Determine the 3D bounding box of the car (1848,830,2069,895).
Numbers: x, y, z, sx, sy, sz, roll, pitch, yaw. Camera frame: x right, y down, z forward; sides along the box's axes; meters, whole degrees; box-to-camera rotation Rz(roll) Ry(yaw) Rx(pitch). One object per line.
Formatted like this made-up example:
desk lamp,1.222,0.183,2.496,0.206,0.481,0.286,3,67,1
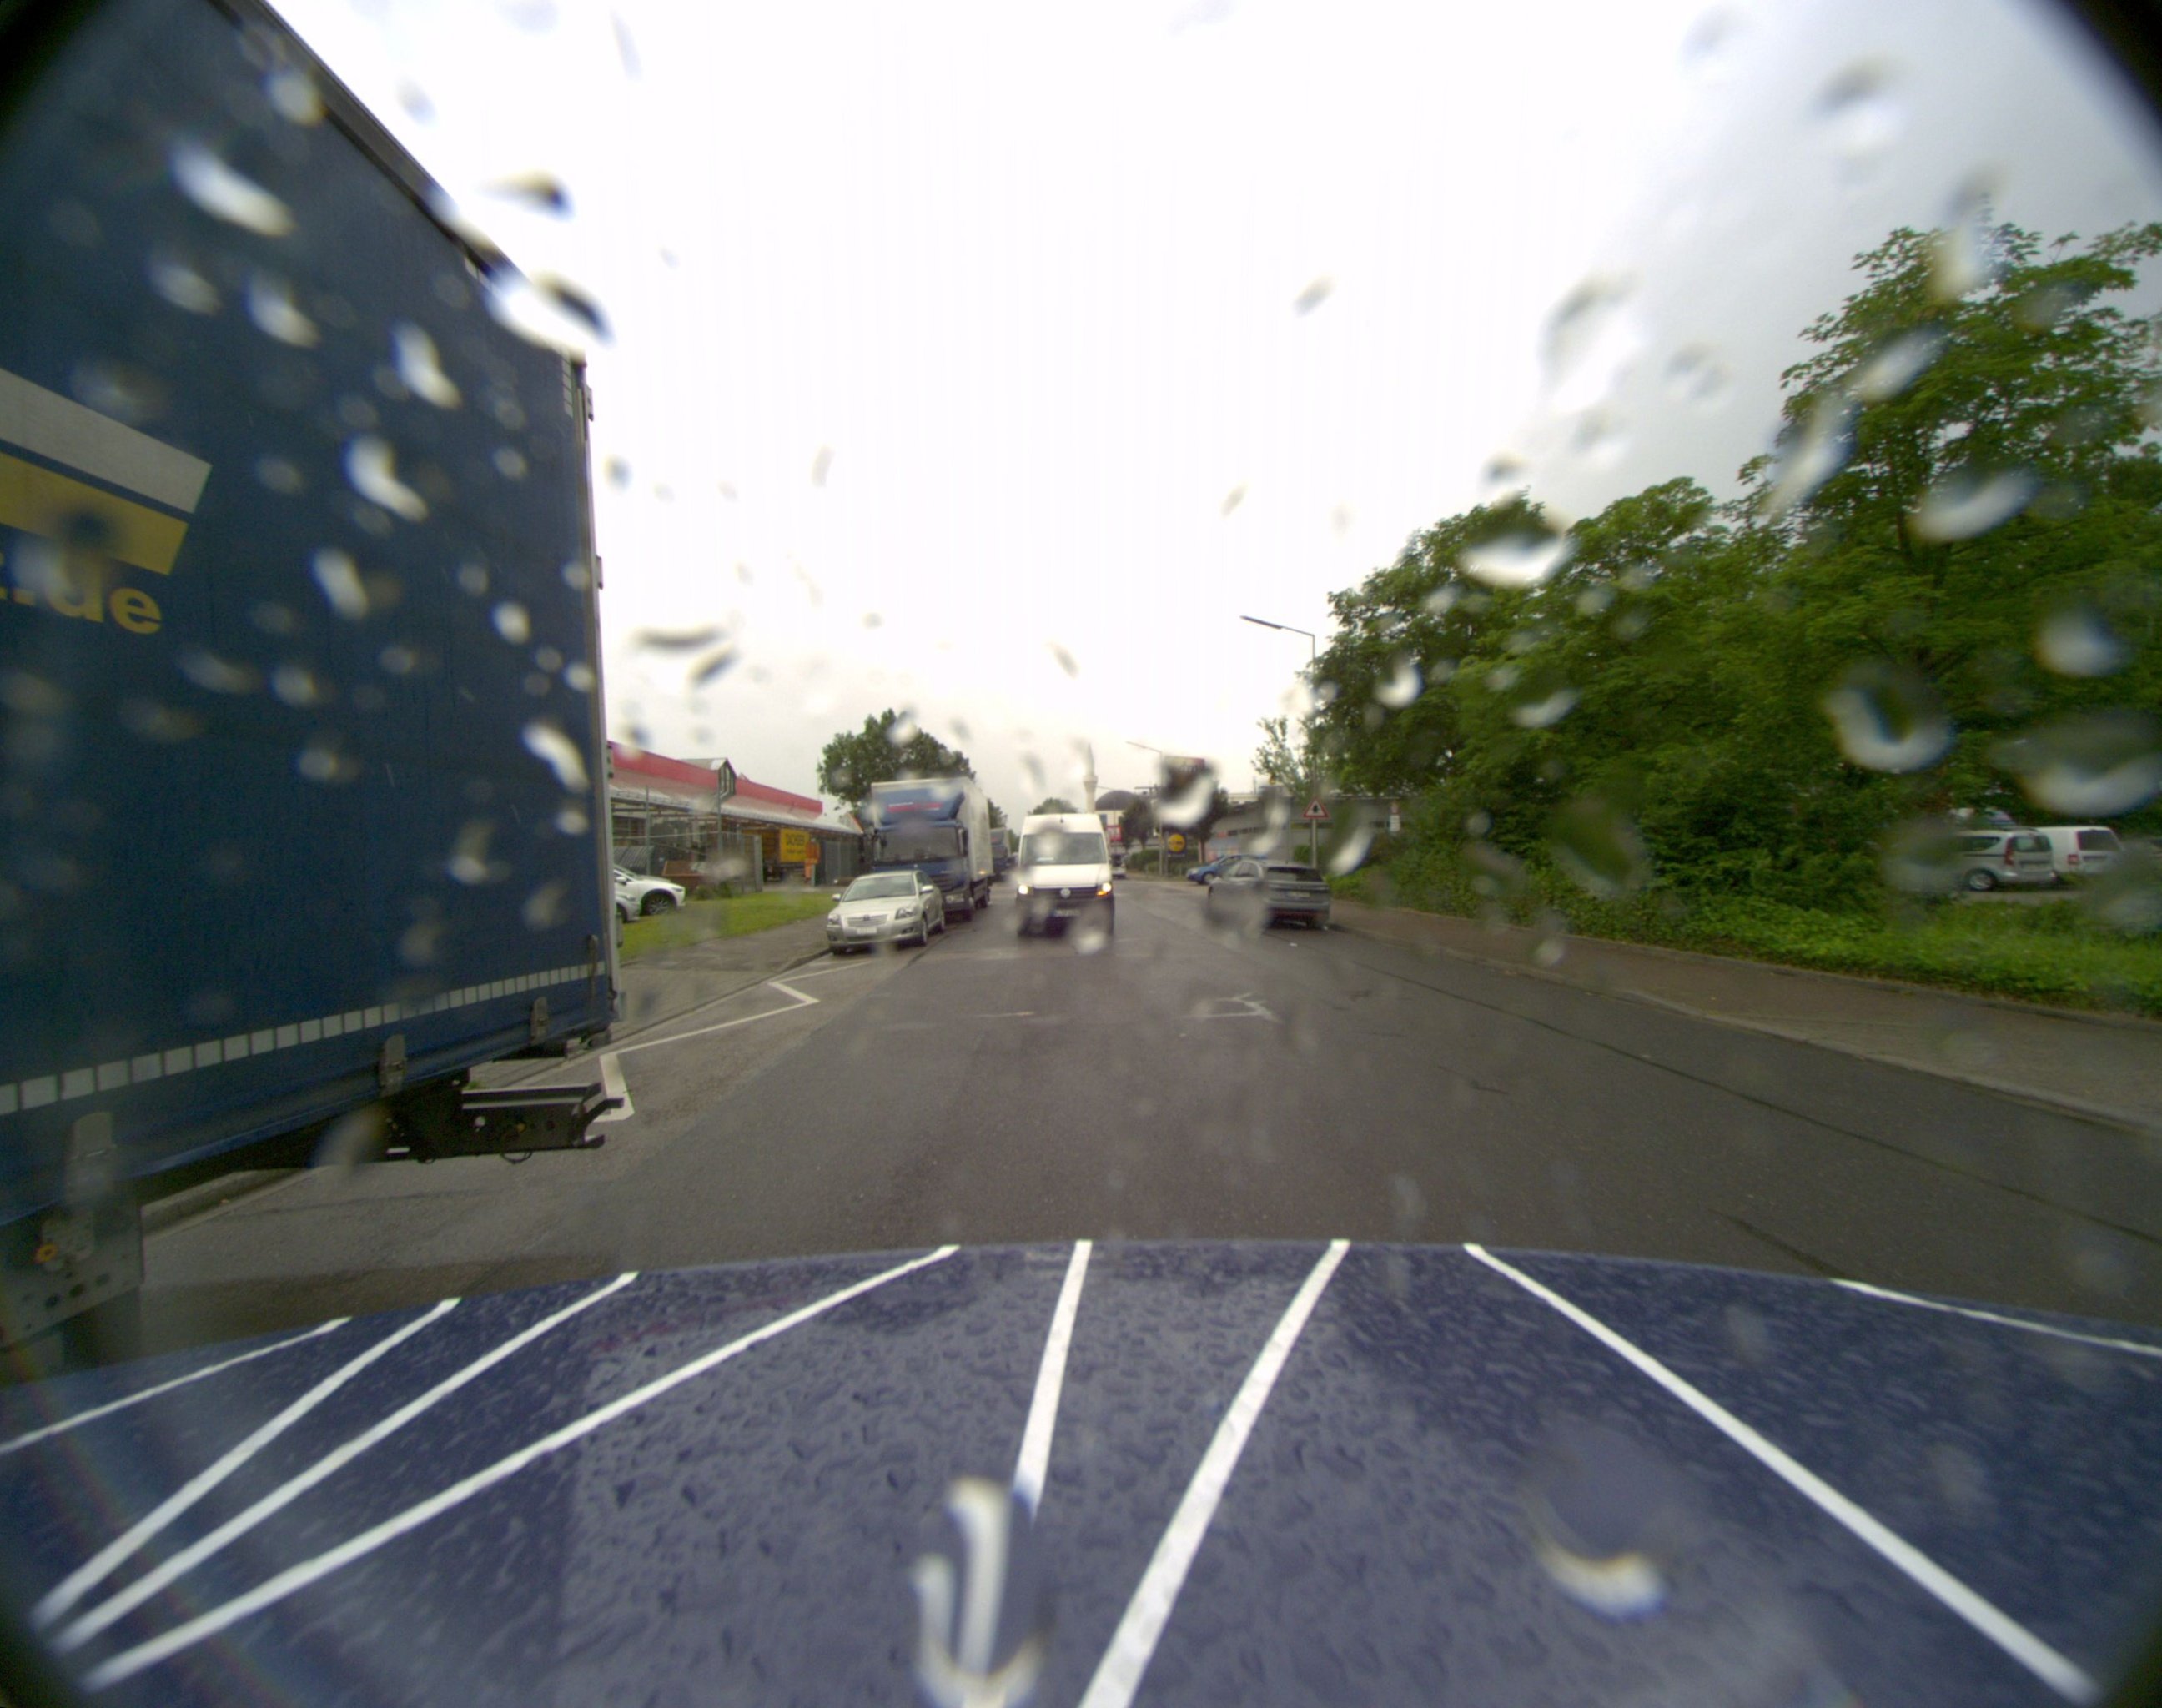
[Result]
car,26.692,0.222,23.338,2.000,1.783,3.996,-1,0,-10

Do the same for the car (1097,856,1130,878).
car,2.236,0.862,53.062,1.841,1.426,4.490,0,0,-3

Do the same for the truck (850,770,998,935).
truck,-4.240,-0.051,22.742,2.749,3.767,9.295,-4,0,-3

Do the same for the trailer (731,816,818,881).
trailer,-21.735,-0.356,54.583,2.975,4.218,9.467,-1,0,-4

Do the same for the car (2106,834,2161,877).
car,36.129,0.034,24.016,2.000,1.412,3.996,-1,0,-10

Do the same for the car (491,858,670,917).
car,-14.596,0.904,22.299,1.868,1.518,4.008,-1,0,42

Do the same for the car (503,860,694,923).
car,-12.907,0.930,20.503,1.770,1.461,4.008,-1,0,42

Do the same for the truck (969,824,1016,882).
truck,-6.197,-0.063,54.523,2.679,3.671,8.006,-4,0,-4

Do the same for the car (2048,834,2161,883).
car,33.748,0.117,23.672,2.000,1.477,3.996,-1,0,-10

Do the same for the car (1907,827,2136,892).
car,28.860,0.148,23.537,2.000,1.783,3.996,-1,0,-10

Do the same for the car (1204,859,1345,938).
car,4.440,0.947,18.307,1.814,1.519,4.745,3,0,-4

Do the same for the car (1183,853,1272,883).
car,7.170,0.679,37.375,3.998,1.432,1.736,0,0,-4

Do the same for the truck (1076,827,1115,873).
truck,1.193,-0.344,67.481,2.890,3.724,7.865,-1,0,-3

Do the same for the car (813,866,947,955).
car,-3.861,1.015,15.367,1.802,1.433,4.343,-1,0,-4

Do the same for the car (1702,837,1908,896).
car,21.342,0.340,22.635,2.001,1.565,3.995,-1,0,-15

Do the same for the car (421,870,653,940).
car,-12.278,1.070,17.345,1.702,1.279,4.008,-1,0,42

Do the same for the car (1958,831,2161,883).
car,31.109,0.067,24.020,2.000,1.477,3.996,-1,0,-10

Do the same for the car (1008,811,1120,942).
car,-0.324,0.427,17.151,2.085,2.466,5.346,-1,0,0
